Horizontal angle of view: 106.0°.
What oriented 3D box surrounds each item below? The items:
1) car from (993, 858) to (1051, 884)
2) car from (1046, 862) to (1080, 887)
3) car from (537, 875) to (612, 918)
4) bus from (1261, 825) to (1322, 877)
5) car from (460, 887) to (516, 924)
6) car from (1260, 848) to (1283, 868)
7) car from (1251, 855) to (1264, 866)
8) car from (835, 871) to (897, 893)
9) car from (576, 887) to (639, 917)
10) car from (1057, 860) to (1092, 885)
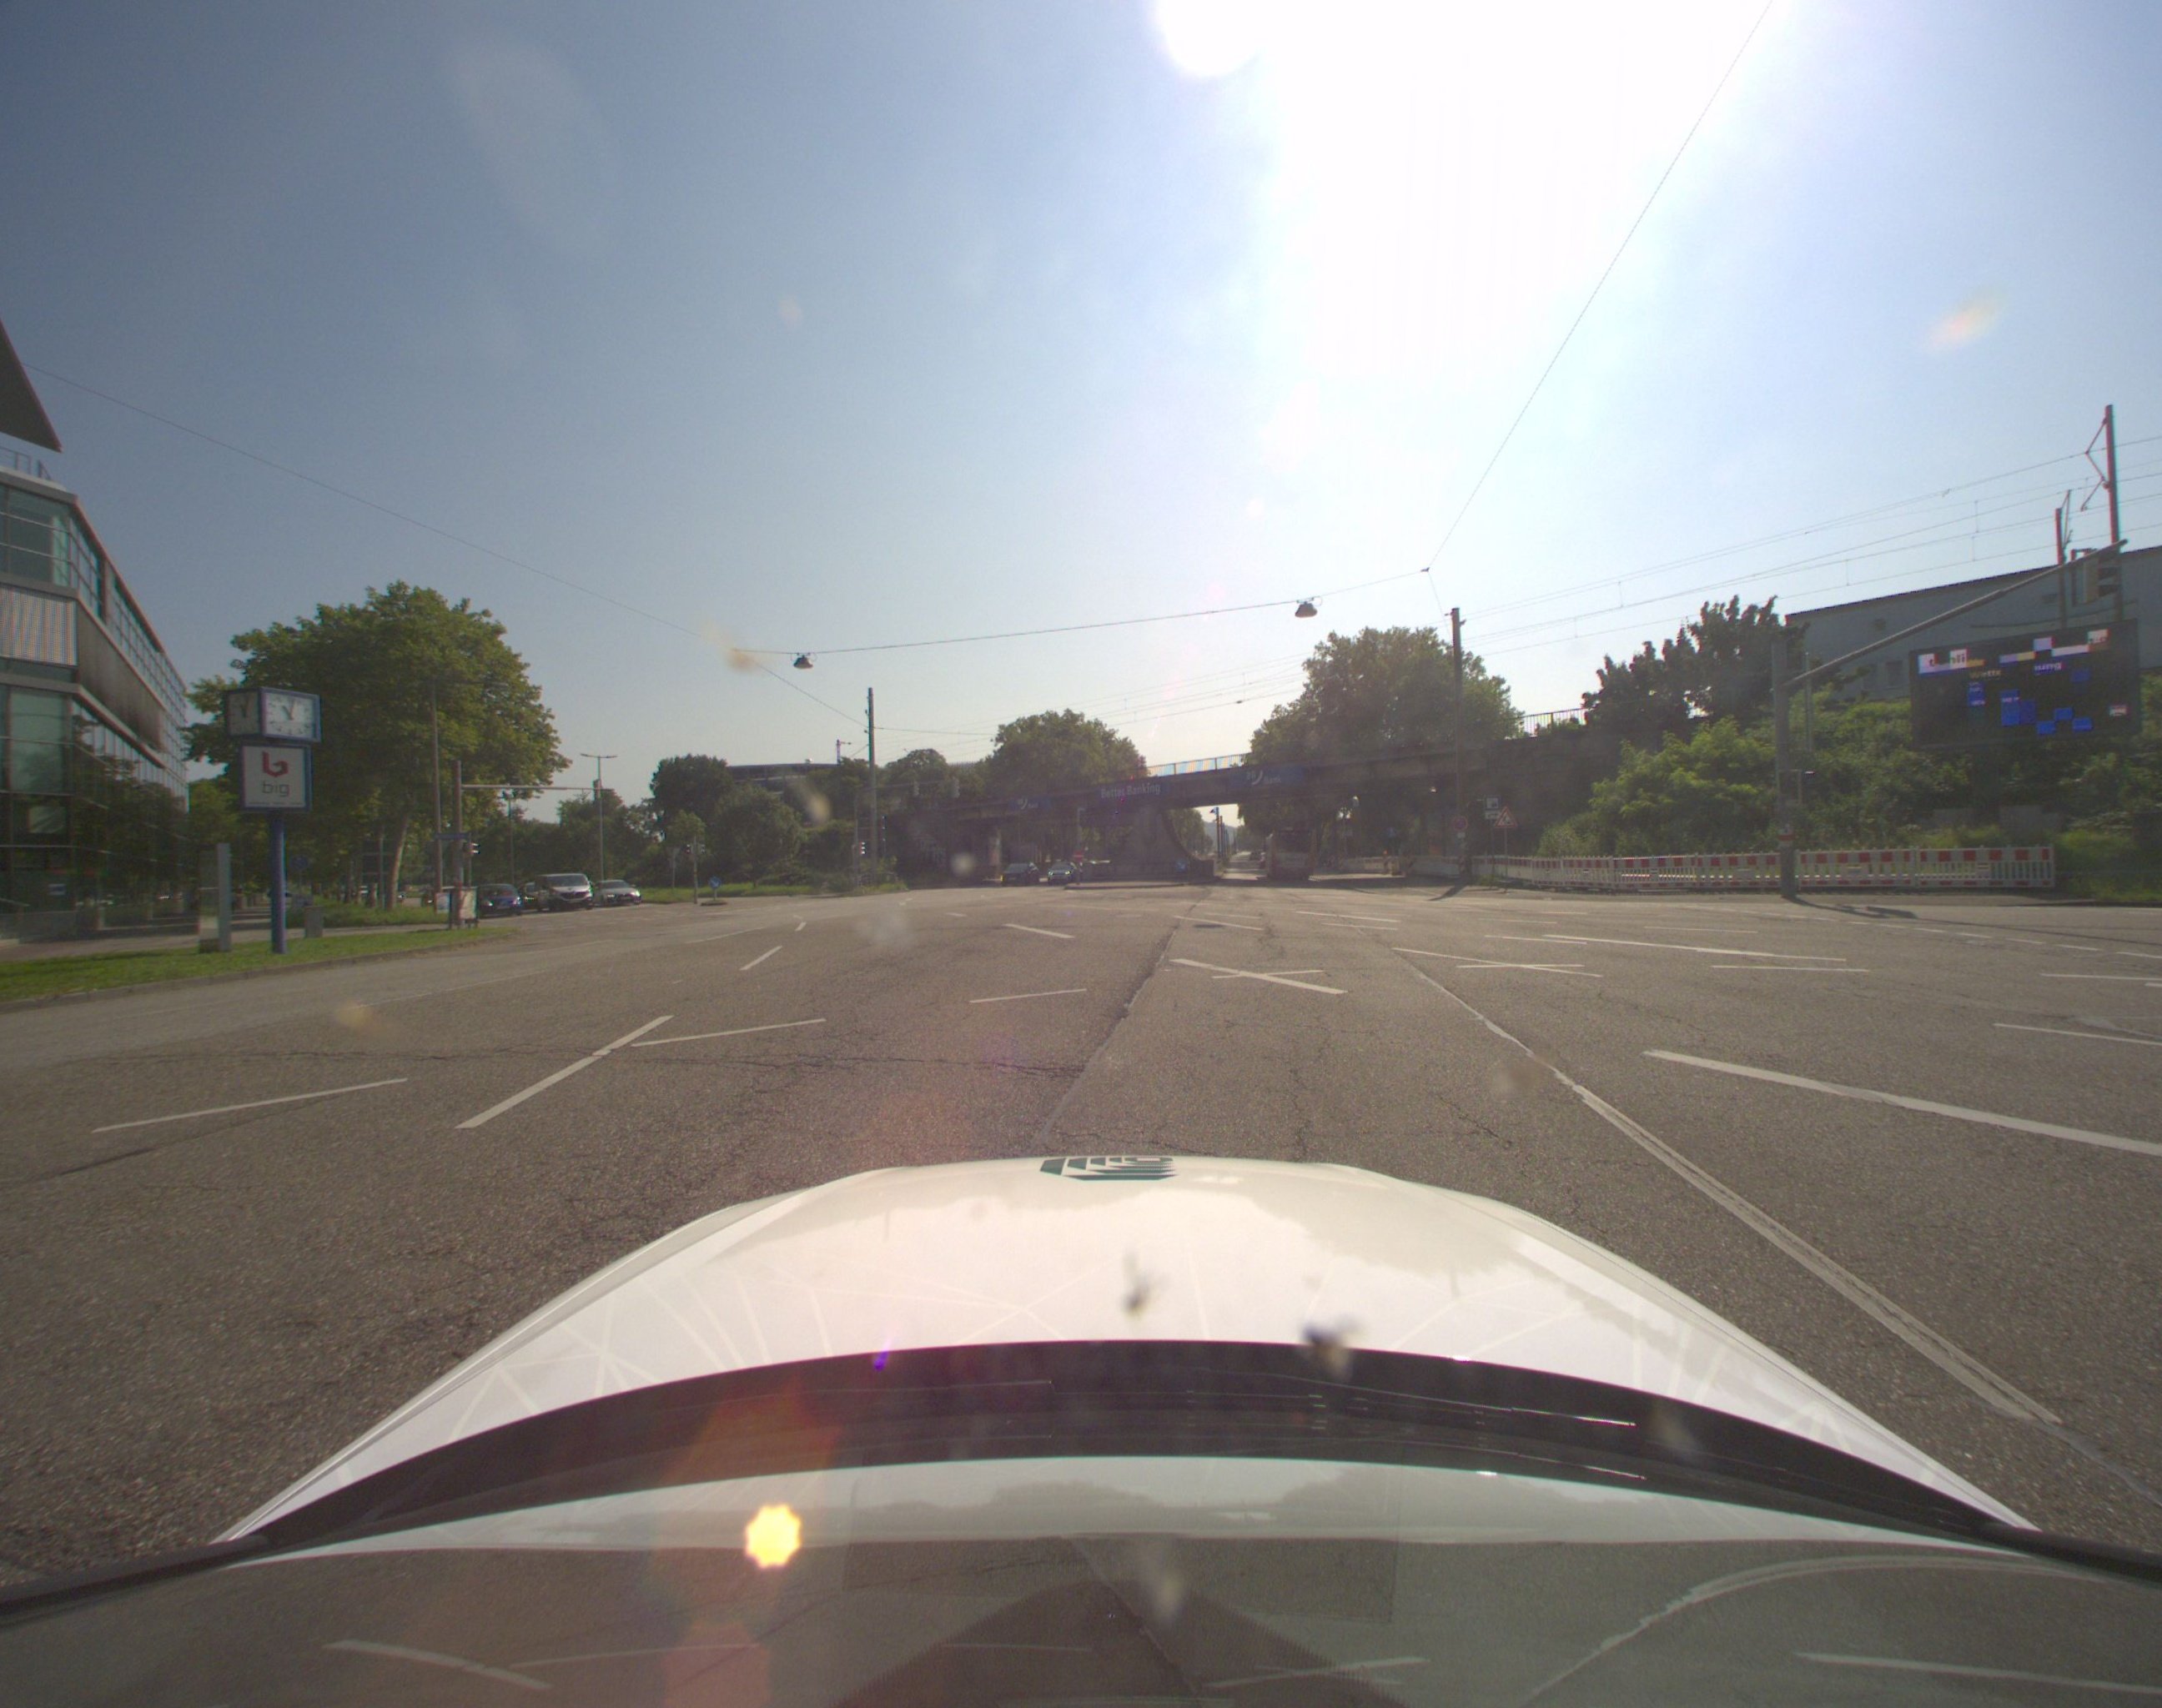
[{"bbox_3d":[-4.026,1.124,56.006,1.884,1.617,4.500,-4,-1,26],"label":"car"},{"bbox_3d":[-1.158,1.329,54.413,1.712,1.538,3.703,-3,-1,7],"label":"car"},{"bbox_3d":[-25.395,2.060,40.752,5.147,1.958,1.945,-2,0,44],"label":"car"},{"bbox_3d":[14.036,-0.129,55.153,3.115,3.113,12.326,-1,-1,11],"label":"bus"},{"bbox_3d":[-28.247,2.410,38.748,1.683,1.535,3.685,-4,1,-43],"label":"car"},{"bbox_3d":[20.506,0.426,87.693,1.982,2.014,4.009,1,0,8],"label":"car"},{"bbox_3d":[32.727,1.180,151.071,1.982,2.014,4.009,1,0,8],"label":"car"},{"bbox_3d":[-15.050,1.927,56.912,4.004,1.428,1.773,1,0,-23],"label":"car"},{"bbox_3d":[-26.271,2.637,45.135,4.548,1.443,1.852,-3,0,45],"label":"car"},{"bbox_3d":[-0.425,1.312,59.050,1.983,1.573,4.357,-1,1,7],"label":"car"}]
